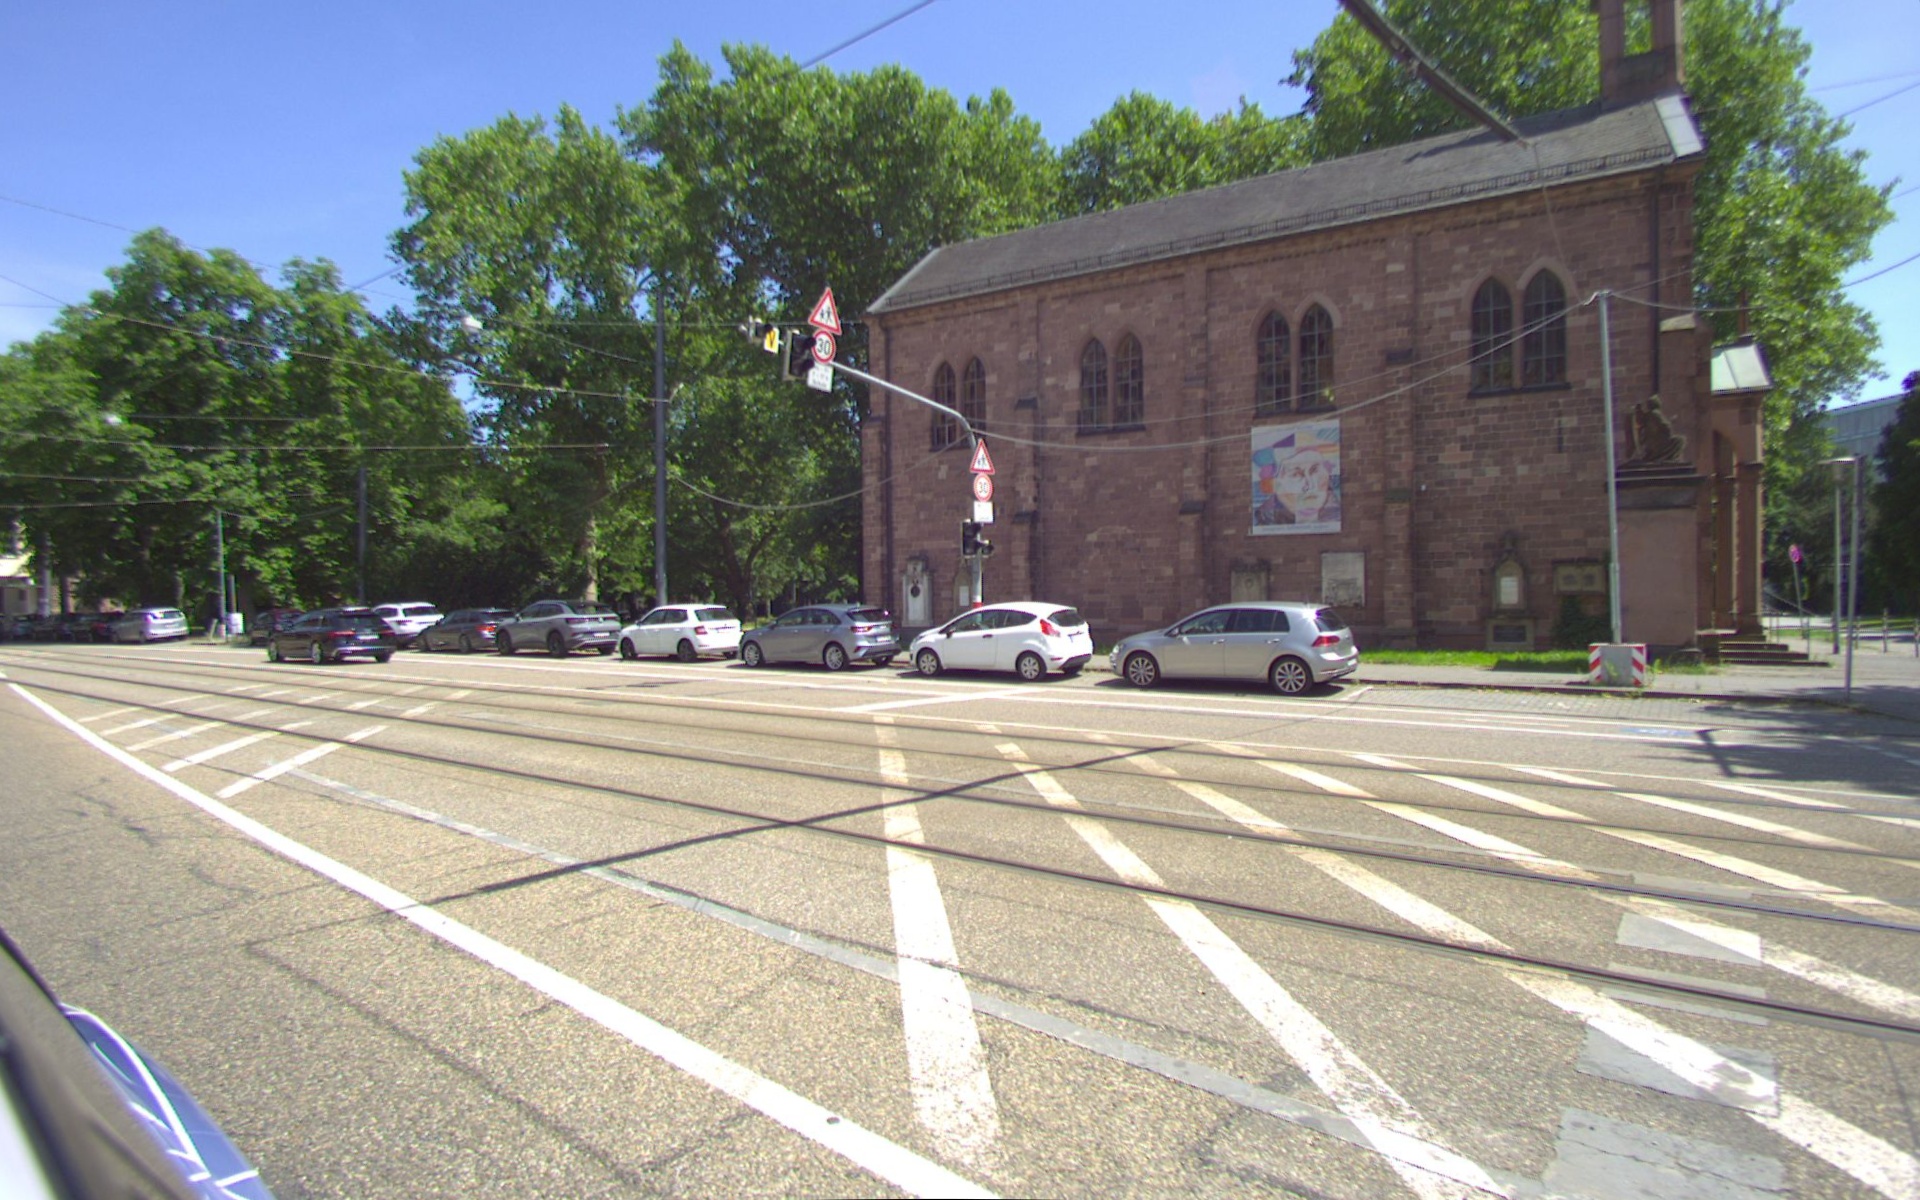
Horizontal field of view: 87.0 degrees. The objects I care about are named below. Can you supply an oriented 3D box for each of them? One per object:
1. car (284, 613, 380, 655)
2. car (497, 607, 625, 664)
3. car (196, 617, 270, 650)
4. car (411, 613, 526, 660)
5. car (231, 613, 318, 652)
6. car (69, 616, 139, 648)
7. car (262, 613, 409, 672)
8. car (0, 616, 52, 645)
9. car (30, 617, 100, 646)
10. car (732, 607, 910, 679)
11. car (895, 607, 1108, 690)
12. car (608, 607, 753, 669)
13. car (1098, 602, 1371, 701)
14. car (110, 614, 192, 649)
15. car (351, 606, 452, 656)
[{"bbox_3d":[-24.510,1.279,39.432,4.180,1.509,1.727,-1,1,36],"label":"car"},{"bbox_3d":[-11.731,0.998,29.694,3.746,1.535,1.727,-1,1,36],"label":"car"},{"bbox_3d":[-33.034,1.508,45.982,3.758,1.390,1.631,-1,1,36],"label":"car"},{"bbox_3d":[-15.979,1.162,32.848,3.992,1.386,1.652,-1,1,36],"label":"car"},{"bbox_3d":[-28.865,1.338,42.569,4.180,1.509,1.727,-1,1,36],"label":"car"},{"bbox_3d":[-43.397,1.600,51.290,3.992,1.475,1.789,-1,1,36],"label":"car"},{"bbox_3d":[-16.801,1.092,27.171,4.336,1.405,1.732,-1,1,34],"label":"car"},{"bbox_3d":[-53.407,1.713,57.532,3.806,1.526,1.728,-1,1,33],"label":"car"},{"bbox_3d":[-48.123,1.668,54.407,3.987,1.475,1.791,-1,1,32],"label":"car"},{"bbox_3d":[-3.253,0.936,23.321,4.050,1.470,1.643,-1,1,36],"label":"car"},{"bbox_3d":[0.776,0.901,20.296,4.052,1.470,1.643,-1,1,37],"label":"car"},{"bbox_3d":[-7.412,0.968,26.731,3.746,1.470,1.727,-1,1,36],"label":"car"},{"bbox_3d":[4.624,0.811,17.344,4.214,1.470,1.643,-1,1,37],"label":"car"},{"bbox_3d":[-38.991,1.483,48.760,3.990,1.574,1.956,-1,1,34],"label":"car"},{"bbox_3d":[-19.922,1.073,36.051,3.900,1.665,1.726,-1,1,38],"label":"car"}]
